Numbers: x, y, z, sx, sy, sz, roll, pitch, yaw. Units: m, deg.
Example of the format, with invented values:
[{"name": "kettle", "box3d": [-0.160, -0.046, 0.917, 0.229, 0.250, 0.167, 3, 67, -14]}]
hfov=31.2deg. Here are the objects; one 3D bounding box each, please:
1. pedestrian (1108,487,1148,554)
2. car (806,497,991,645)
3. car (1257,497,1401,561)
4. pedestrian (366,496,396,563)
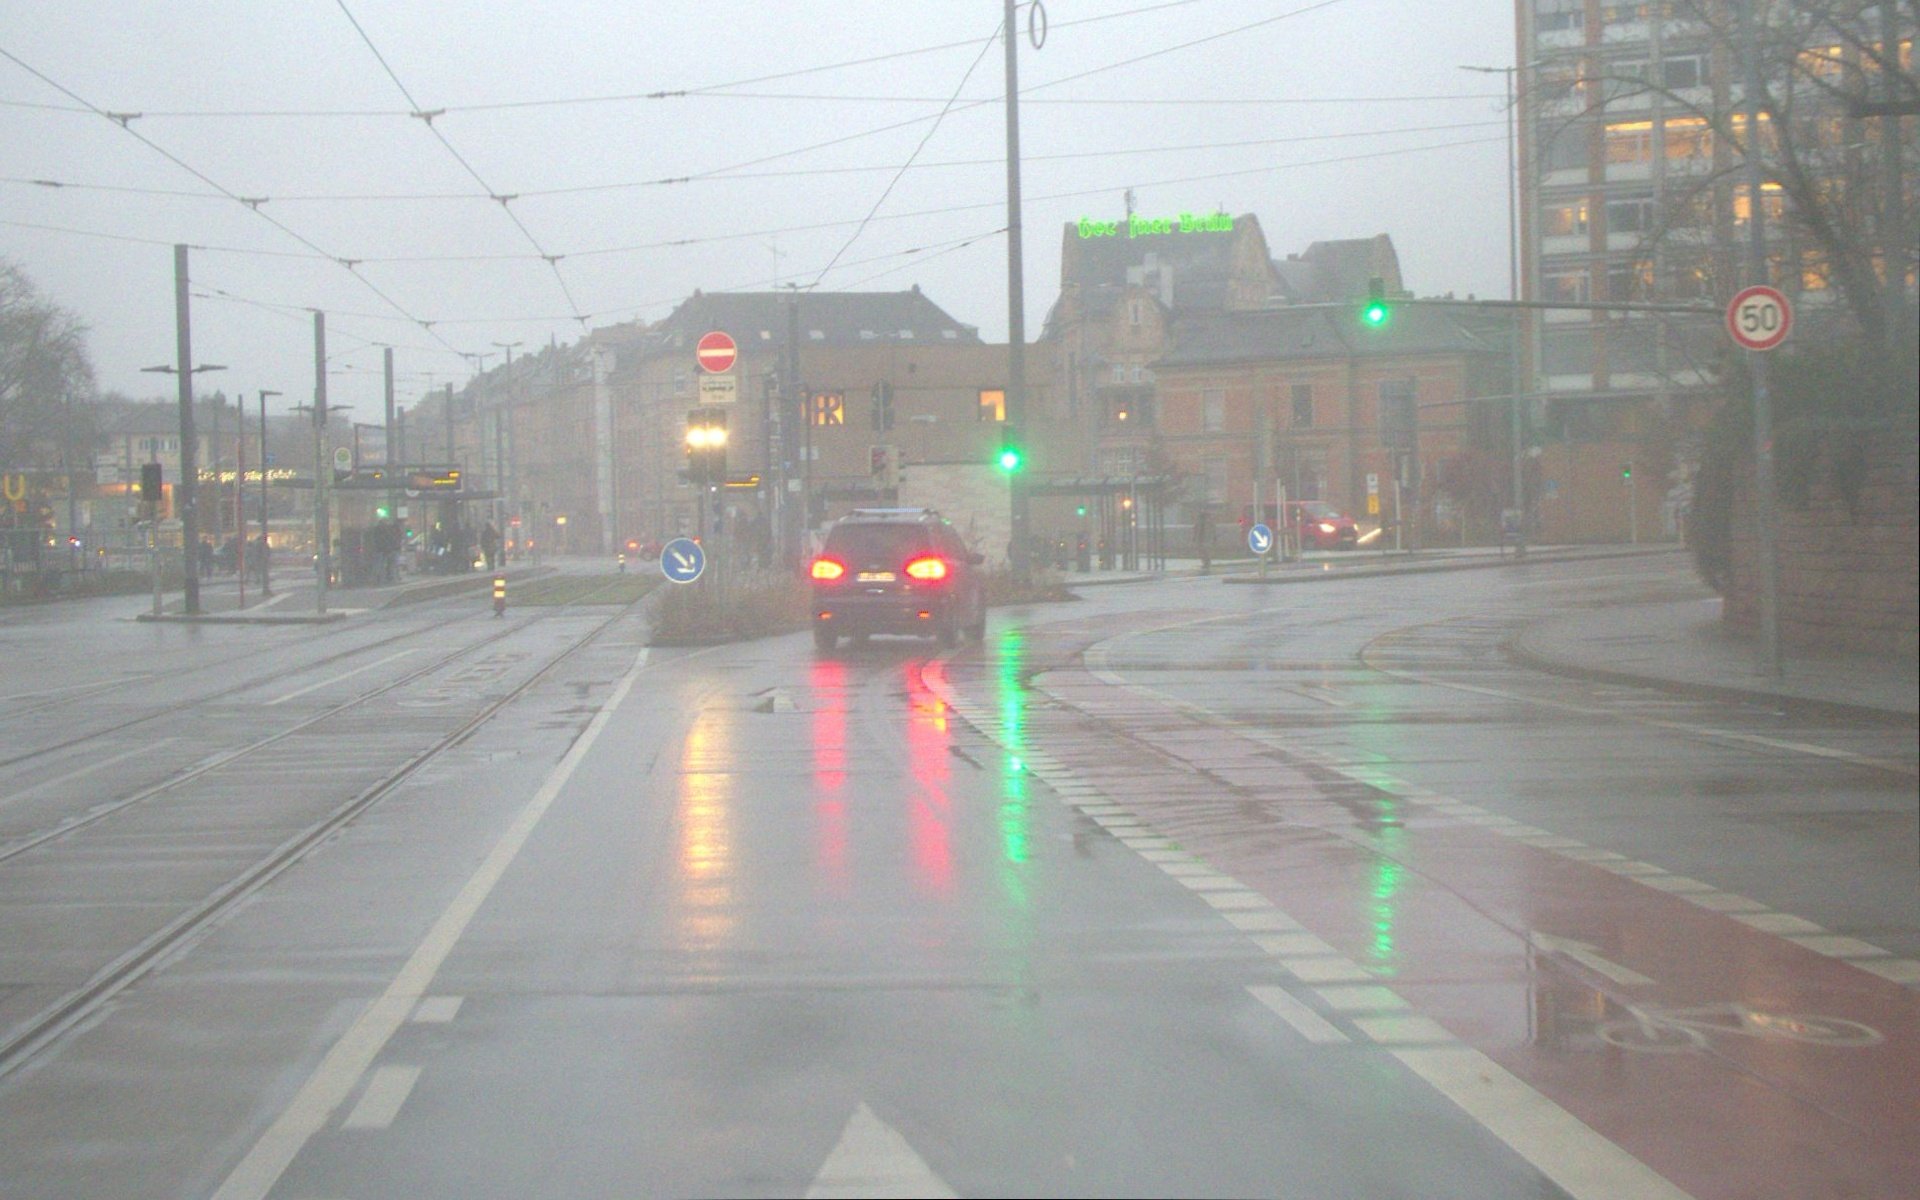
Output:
[{"name": "pedestrian", "box3d": [4.266, -2.023, 87.274, 0.674, 1.668, 0.729, 2, 1, 35]}, {"name": "car", "box3d": [-0.767, -0.430, 45.513, 1.648, 1.812, 3.999, 1, 3, 11]}, {"name": "car", "box3d": [13.674, -2.644, 127.609, 2.252, 2.273, 5.035, 1, 1, -42]}, {"name": "pedestrian", "box3d": [-15.173, -1.837, 90.093, 0.712, 1.751, 0.717, 0, 1, -3]}]
